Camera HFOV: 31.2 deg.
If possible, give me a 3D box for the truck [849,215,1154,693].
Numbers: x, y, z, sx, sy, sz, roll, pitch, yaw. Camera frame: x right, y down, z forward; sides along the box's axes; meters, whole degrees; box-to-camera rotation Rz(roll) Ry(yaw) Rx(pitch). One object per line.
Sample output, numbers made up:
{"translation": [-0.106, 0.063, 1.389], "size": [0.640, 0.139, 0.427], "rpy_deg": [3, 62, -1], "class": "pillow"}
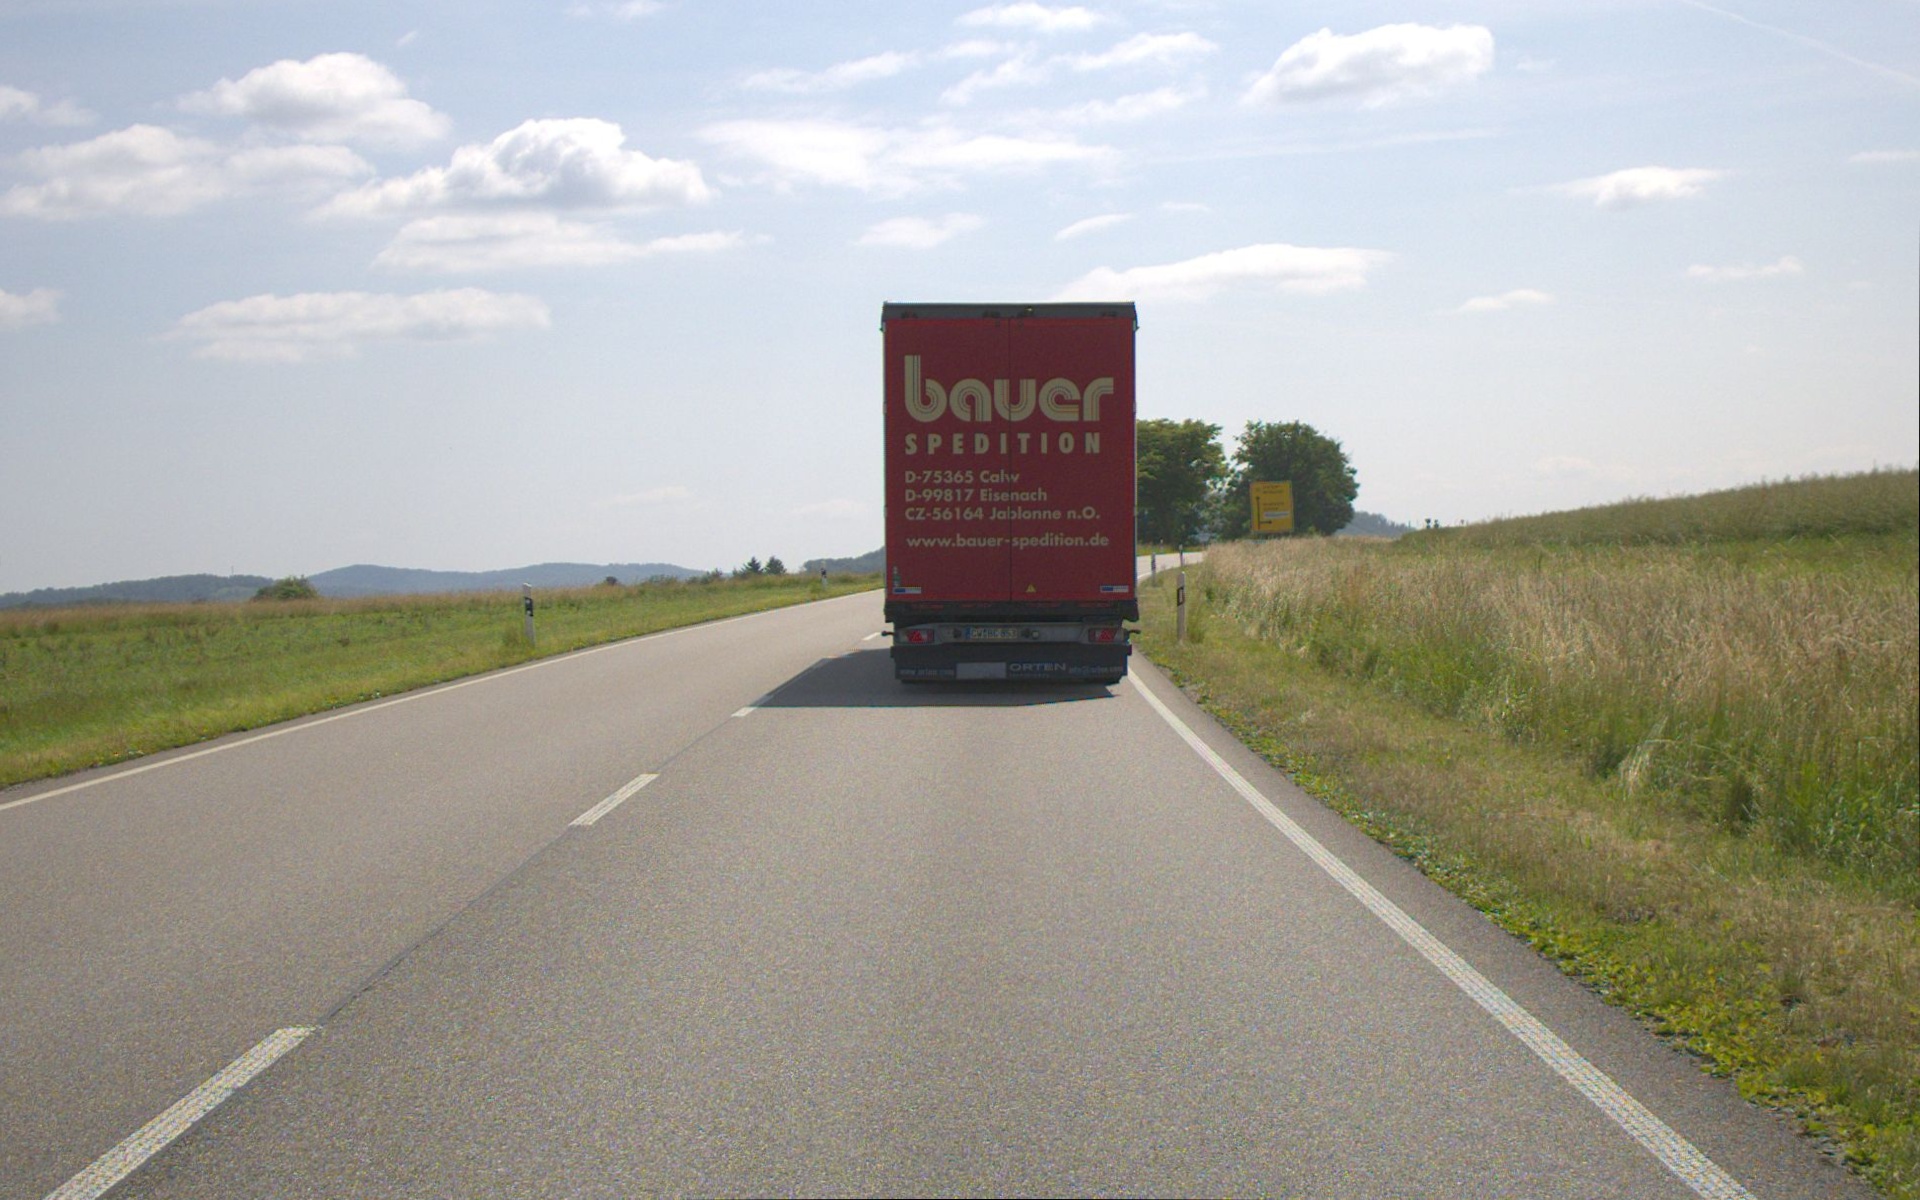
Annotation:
{"translation": [0.517, -1.560, 38.682], "size": [2.975, 4.697, 9.366], "rpy_deg": [-1, 1, 1], "class": "truck"}
